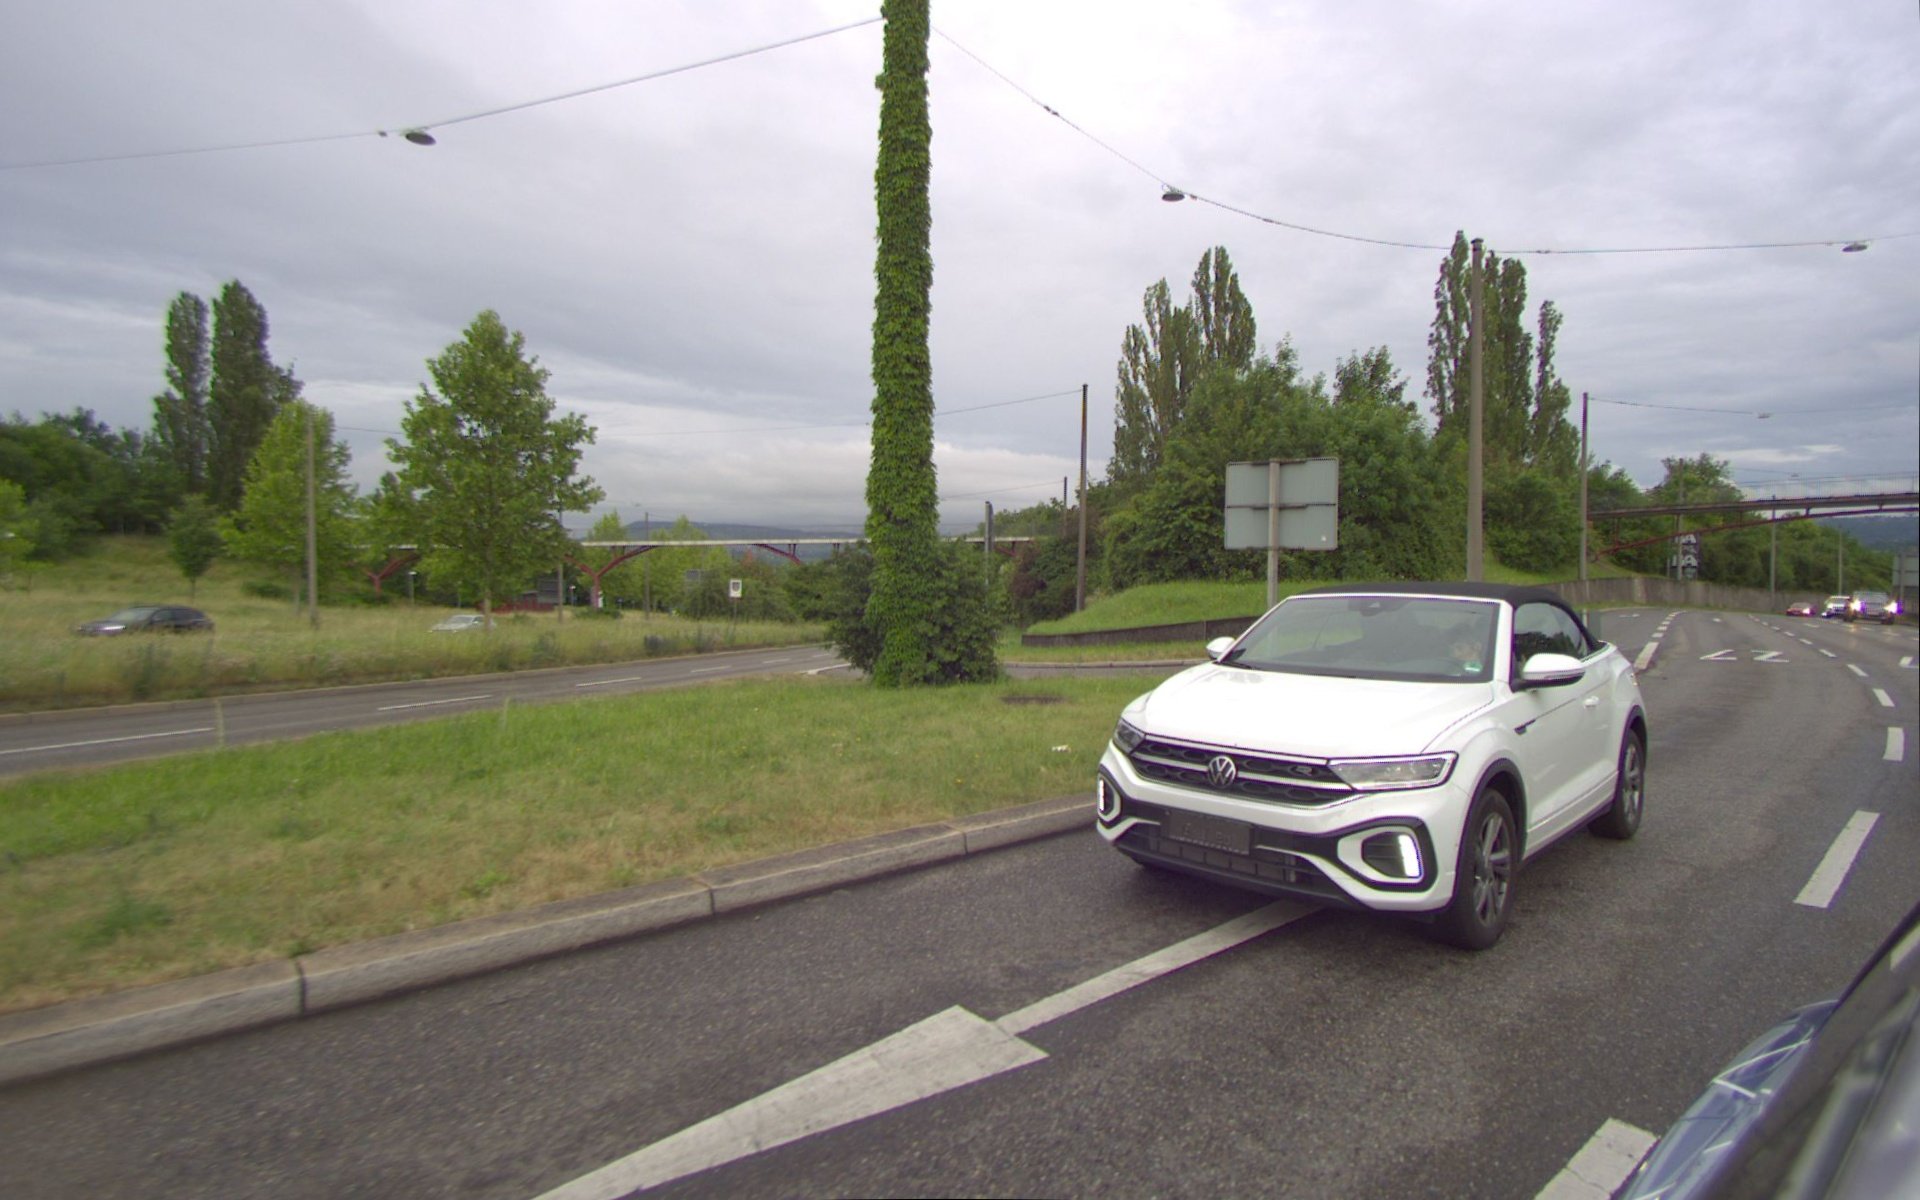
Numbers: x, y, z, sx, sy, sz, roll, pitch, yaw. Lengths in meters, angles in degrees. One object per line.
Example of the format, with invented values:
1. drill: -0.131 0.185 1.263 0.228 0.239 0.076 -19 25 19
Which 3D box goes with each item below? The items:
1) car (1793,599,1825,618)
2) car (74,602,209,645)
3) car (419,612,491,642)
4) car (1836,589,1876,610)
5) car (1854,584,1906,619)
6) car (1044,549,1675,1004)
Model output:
1. car: 80.553 0.785 95.976 1.994 1.683 3.935 -3 -2 45
2. car: -29.303 0.837 36.379 1.570 1.428 3.957 -1 -1 2
3. car: -25.551 1.370 51.348 1.570 1.428 3.957 -1 -1 2
4. car: 67.864 -0.052 76.691 1.933 1.496 3.944 -3 -2 38
5. car: 47.921 0.084 52.782 1.904 1.699 3.940 -2 -2 41
6. car: 2.465 0.548 5.569 4.161 1.572 1.714 -2 2 -45
